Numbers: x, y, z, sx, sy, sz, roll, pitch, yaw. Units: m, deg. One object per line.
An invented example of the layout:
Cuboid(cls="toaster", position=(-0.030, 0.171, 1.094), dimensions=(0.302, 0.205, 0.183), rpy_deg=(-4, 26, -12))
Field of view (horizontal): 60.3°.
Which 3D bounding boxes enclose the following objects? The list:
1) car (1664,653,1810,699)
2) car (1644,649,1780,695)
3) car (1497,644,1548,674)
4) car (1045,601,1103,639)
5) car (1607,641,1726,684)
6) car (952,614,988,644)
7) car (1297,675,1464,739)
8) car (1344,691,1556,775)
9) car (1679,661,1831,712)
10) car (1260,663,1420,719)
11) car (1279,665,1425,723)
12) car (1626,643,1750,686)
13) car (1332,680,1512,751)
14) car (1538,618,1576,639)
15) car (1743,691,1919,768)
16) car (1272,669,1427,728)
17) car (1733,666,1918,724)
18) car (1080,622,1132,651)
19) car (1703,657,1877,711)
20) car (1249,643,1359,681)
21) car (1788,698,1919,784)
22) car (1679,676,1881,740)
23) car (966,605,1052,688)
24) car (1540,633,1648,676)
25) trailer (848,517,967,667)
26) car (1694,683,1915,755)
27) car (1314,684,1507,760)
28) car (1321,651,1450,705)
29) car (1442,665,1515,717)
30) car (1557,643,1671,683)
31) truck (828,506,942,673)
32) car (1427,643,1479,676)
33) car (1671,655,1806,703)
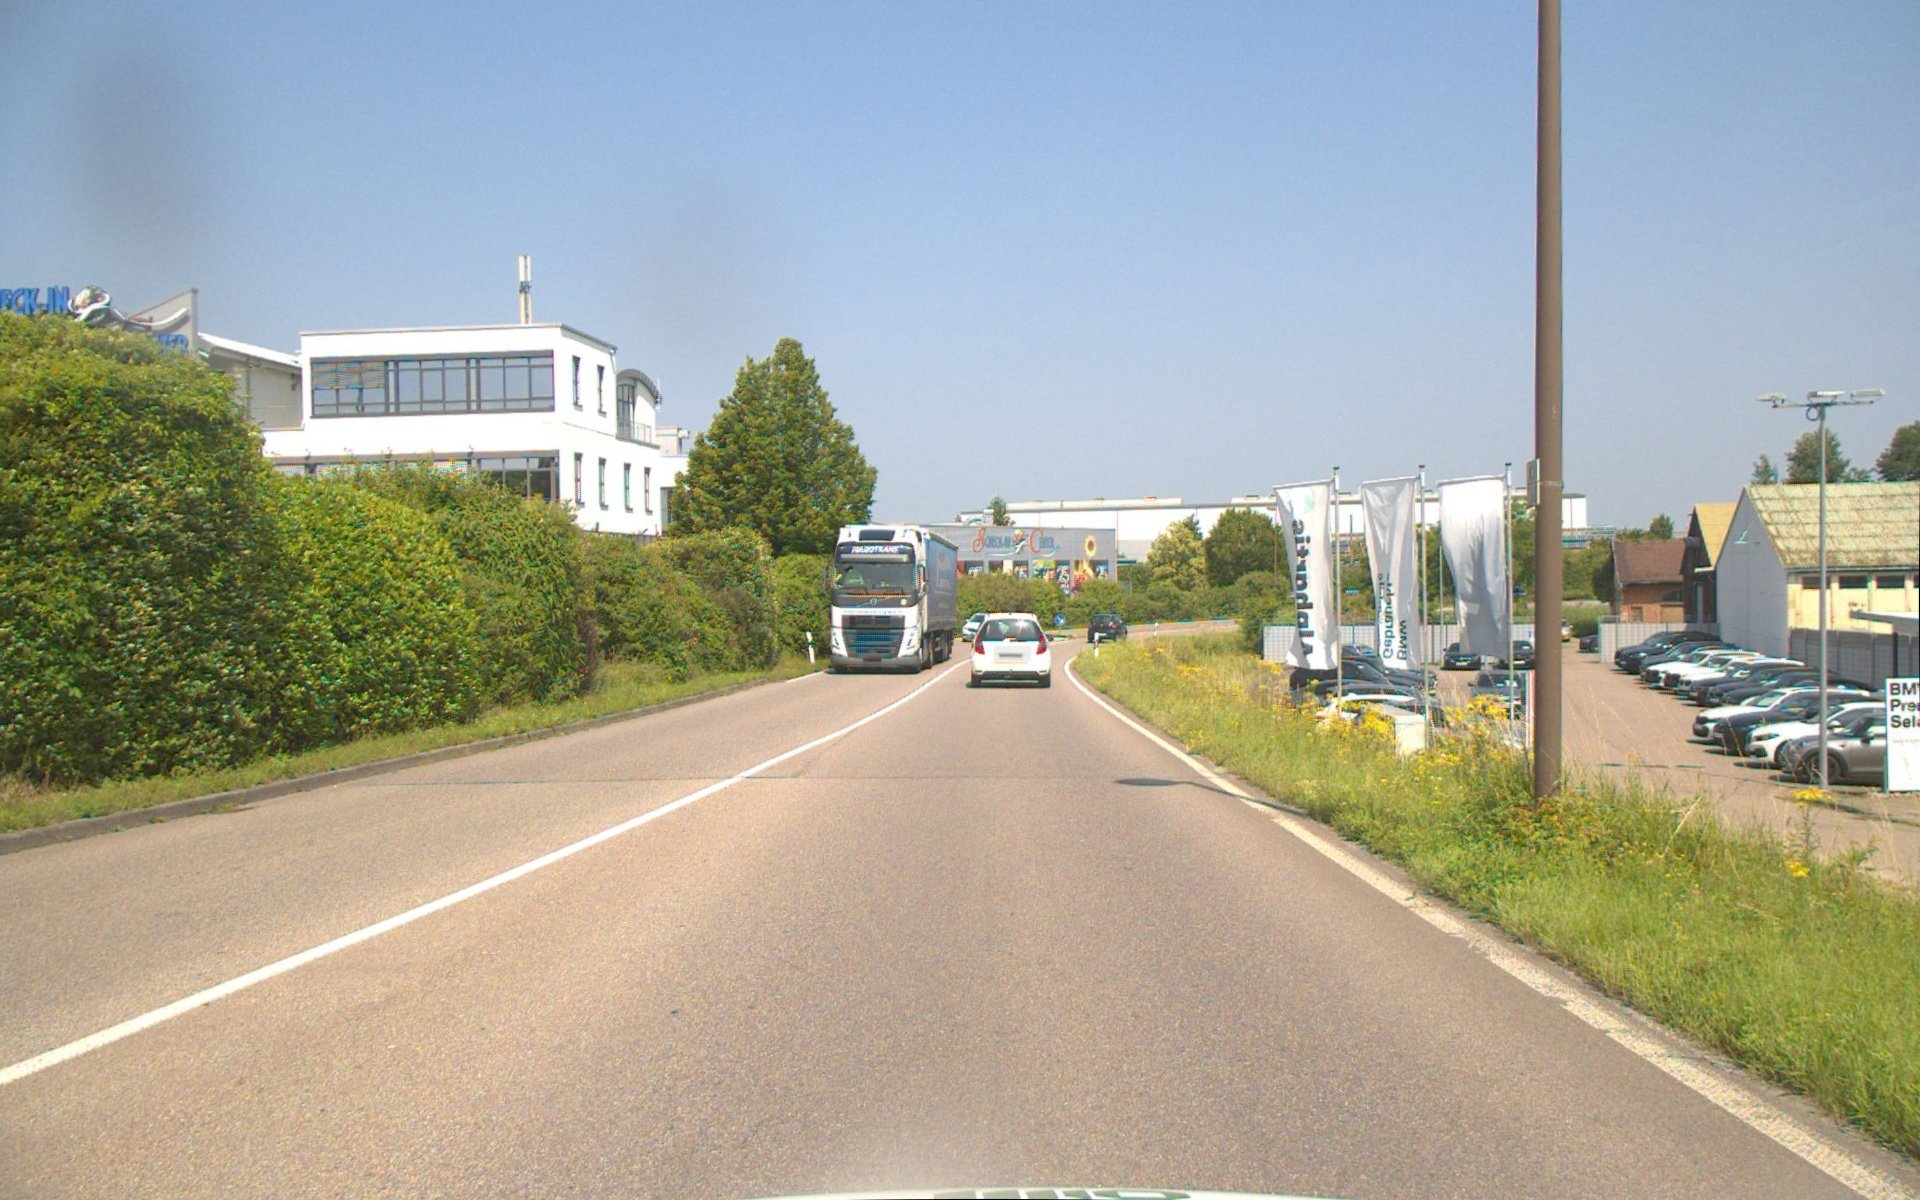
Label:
Cuboid(cls="car", position=(28.678, 2.790, 61.117), dimensions=(4.554, 1.550, 1.910), rpy_deg=(-1, -1, -4))
Cuboid(cls="car", position=(29.032, 2.766, 63.887), dimensions=(4.514, 1.549, 1.907), rpy_deg=(-1, 1, -10))
Cuboid(cls="car", position=(28.713, 3.008, 84.382), dimensions=(1.955, 1.422, 3.995), rpy_deg=(0, -1, 27))
Cuboid(cls="car", position=(6.377, 1.101, 92.047), dimensions=(1.954, 2.049, 3.997), rpy_deg=(0, -1, 25))
Cuboid(cls="car", position=(29.573, 2.610, 69.257), dimensions=(4.244, 1.603, 1.907), rpy_deg=(-1, 1, -10))
Cuboid(cls="car", position=(0.529, 1.468, 84.663), dimensions=(1.791, 1.496, 4.410), rpy_deg=(0, -1, 1))
Cuboid(cls="car", position=(11.468, 2.894, 45.199), dimensions=(4.082, 1.550, 1.852), rpy_deg=(0, -1, 31))
Cuboid(cls="car", position=(10.541, 2.825, 35.672), dimensions=(4.087, 1.550, 1.684), rpy_deg=(0, -1, 35))
Cuboid(cls="car", position=(26.438, 2.849, 55.082), dimensions=(4.228, 1.550, 1.795), rpy_deg=(-1, -1, -4))
Cuboid(cls="car", position=(11.867, 2.809, 51.786), dimensions=(4.546, 1.550, 1.851), rpy_deg=(0, -1, 33))
Cuboid(cls="car", position=(13.526, 3.197, 57.125), dimensions=(4.549, 1.730, 1.850), rpy_deg=(0, 2, 35))
Cuboid(cls="car", position=(29.378, 2.588, 66.803), dimensions=(4.244, 1.549, 1.907), rpy_deg=(-1, 1, -10))
Cuboid(cls="car", position=(11.634, 2.875, 41.695), dimensions=(4.081, 1.550, 1.853), rpy_deg=(0, -1, 30))
Cuboid(cls="car", position=(40.003, 1.897, 110.791), dimensions=(1.955, 1.422, 3.995), rpy_deg=(0, -1, 27))
Cuboid(cls="car", position=(19.534, 2.834, 36.580), dimensions=(3.877, 1.550, 1.751), rpy_deg=(-1, -1, 22))
Cuboid(cls="car", position=(11.425, 2.848, 48.510), dimensions=(4.082, 1.550, 1.852), rpy_deg=(0, -1, 31))
Cuboid(cls="car", position=(25.689, 2.815, 49.165), dimensions=(4.513, 1.550, 1.930), rpy_deg=(-1, -1, -4))
Cuboid(cls="car", position=(7.896, 1.924, 89.028), dimensions=(1.790, 1.496, 4.411), rpy_deg=(0, -1, 19))
Cuboid(cls="car", position=(26.076, 2.620, 52.040), dimensions=(4.513, 1.550, 1.930), rpy_deg=(-1, -1, -4))
Cuboid(cls="car", position=(15.594, 2.787, 74.974), dimensions=(4.542, 1.633, 1.853), rpy_deg=(0, 0, 30))
Cuboid(cls="car", position=(18.748, 2.830, 33.251), dimensions=(3.719, 1.550, 1.748), rpy_deg=(0, -1, 29))
Cuboid(cls="car", position=(21.511, 2.822, 43.523), dimensions=(4.331, 1.550, 1.933), rpy_deg=(-1, -1, 7))
Cuboid(cls="car", position=(1.084, 0.985, 36.777), dimensions=(1.744, 1.631, 3.894), rpy_deg=(2, 0, 1))
Cuboid(cls="car", position=(29.178, 2.502, 76.167), dimensions=(4.244, 1.836, 1.907), rpy_deg=(-1, 1, -10))
Cuboid(cls="trailer", position=(-1.500, -0.155, 55.084), dimensions=(2.614, 4.315, 14.571), rpy_deg=(0, -1, 3))
Cuboid(cls="car", position=(20.322, 2.847, 39.949), dimensions=(4.333, 1.550, 1.932), rpy_deg=(-1, 0, 1))
Cuboid(cls="car", position=(10.570, 2.825, 38.902), dimensions=(4.082, 1.550, 1.747), rpy_deg=(0, -1, 31))
Cuboid(cls="car", position=(15.556, 2.814, 60.524), dimensions=(4.155, 1.730, 1.910), rpy_deg=(0, 2, 39))
Cuboid(cls="car", position=(17.139, 2.983, 54.865), dimensions=(2.090, 1.483, 4.535), rpy_deg=(0, -1, 15))
Cuboid(cls="car", position=(28.426, 2.732, 71.919), dimensions=(4.244, 1.549, 1.907), rpy_deg=(-1, 1, -10))
Cuboid(cls="truck", position=(-2.015, -0.250, 46.615), dimensions=(2.460, 4.332, 6.115), rpy_deg=(-1, -1, 4))
Cuboid(cls="car", position=(25.537, 3.041, 85.641), dimensions=(1.814, 1.561, 4.638), rpy_deg=(0, -1, 27))
Cuboid(cls="car", position=(27.265, 2.748, 57.966), dimensions=(3.918, 1.550, 1.757), rpy_deg=(-1, -1, -4))
